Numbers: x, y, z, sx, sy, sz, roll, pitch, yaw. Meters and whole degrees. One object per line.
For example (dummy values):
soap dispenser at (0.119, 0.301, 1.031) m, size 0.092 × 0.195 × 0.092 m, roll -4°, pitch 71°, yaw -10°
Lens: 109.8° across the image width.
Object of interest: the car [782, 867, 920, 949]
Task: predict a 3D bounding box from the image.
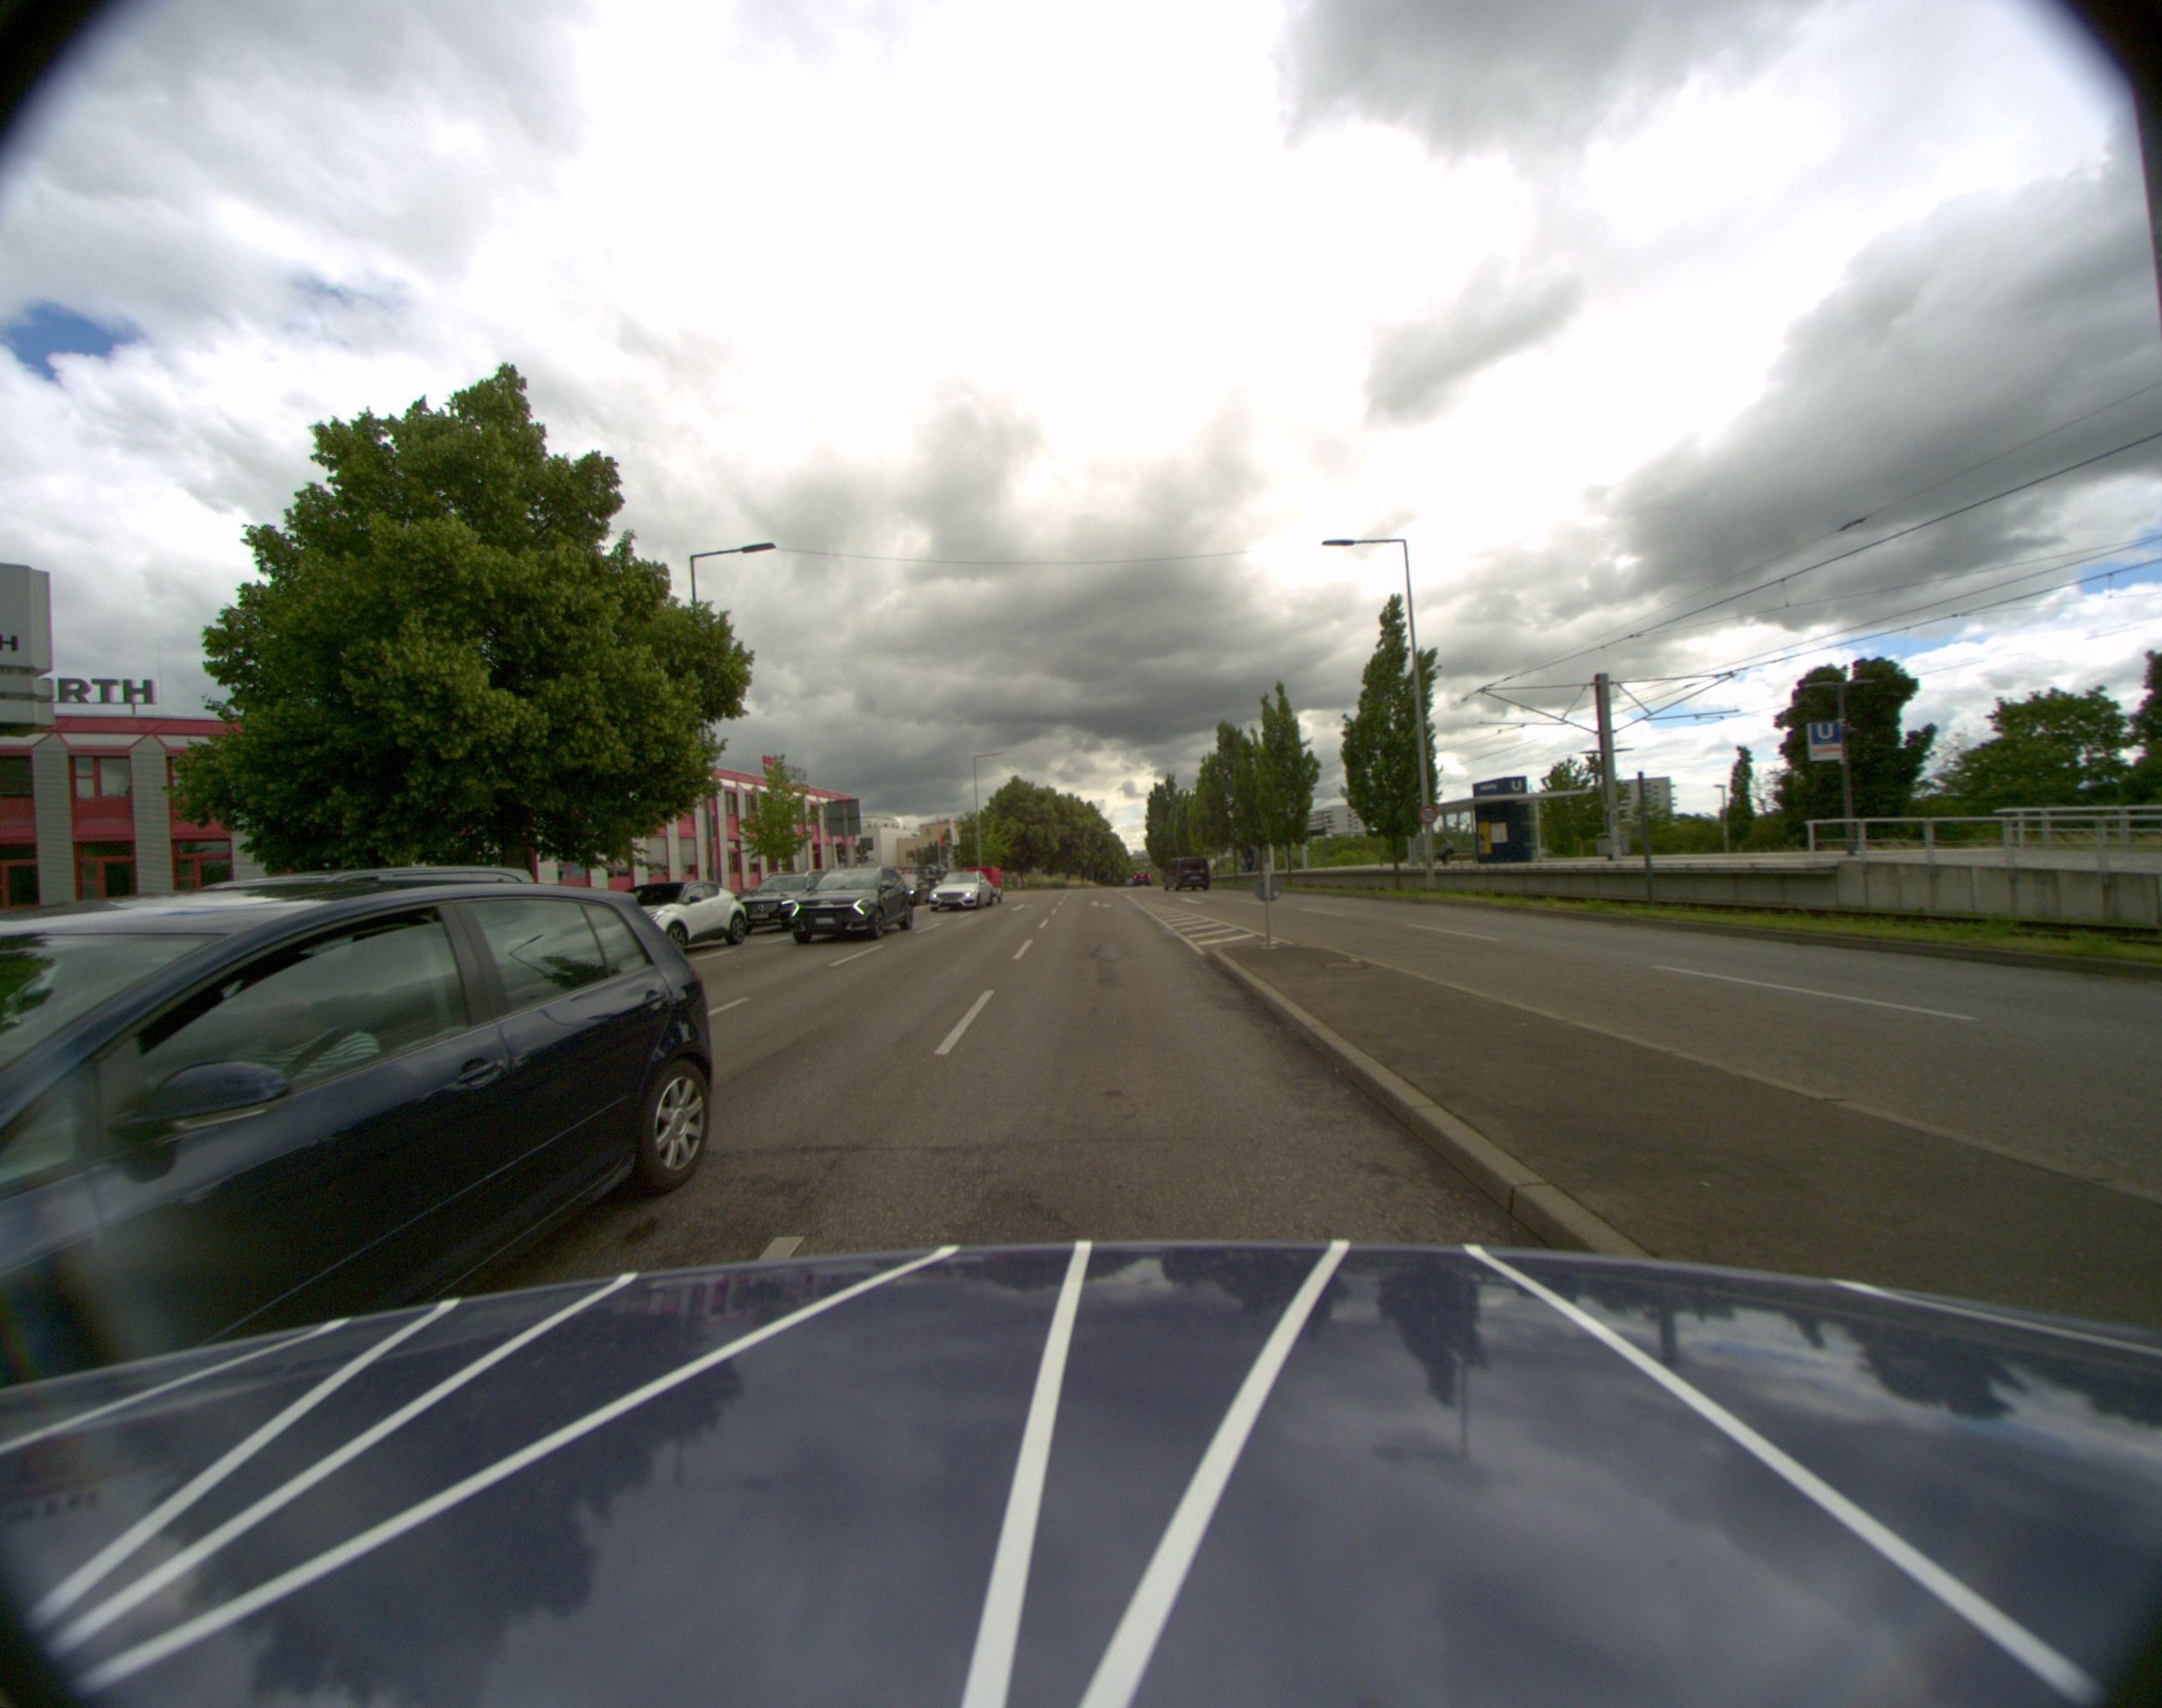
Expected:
car at (-5.246, 1.160, 17.939) m, size 1.798 × 1.521 × 4.218 m, roll -2°, pitch 1°, yaw 2°

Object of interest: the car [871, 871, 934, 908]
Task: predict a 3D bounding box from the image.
car at (-8.101, 1.569, 34.928) m, size 1.763 × 1.431 × 4.370 m, roll -3°, pitch 0°, yaw 0°

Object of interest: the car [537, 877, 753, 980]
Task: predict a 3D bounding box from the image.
car at (-8.589, 1.384, 15.479) m, size 1.844 × 1.507 × 4.106 m, roll -6°, pitch 0°, yaw 1°

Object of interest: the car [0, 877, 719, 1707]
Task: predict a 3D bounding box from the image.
car at (-2.842, 0.976, 2.108) m, size 1.669 × 1.589 × 3.996 m, roll -2°, pitch 1°, yaw 0°

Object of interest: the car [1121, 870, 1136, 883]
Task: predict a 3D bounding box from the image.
car at (6.501, 3.058, 104.451) m, size 1.760 × 1.519 × 3.600 m, roll -2°, pitch 1°, yaw 0°

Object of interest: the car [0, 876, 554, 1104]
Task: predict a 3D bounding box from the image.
car at (-8.768, 1.250, 8.829) m, size 1.763 × 1.764 × 4.676 m, roll -5°, pitch -1°, yaw 2°

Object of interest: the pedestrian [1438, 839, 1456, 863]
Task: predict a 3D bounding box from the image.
pedestrian at (17.711, -0.149, 36.754) m, size 0.601 × 1.148 × 0.447 m, roll -2°, pitch 1°, yaw 1°

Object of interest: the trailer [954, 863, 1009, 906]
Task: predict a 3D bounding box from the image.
trailer at (-4.383, 1.290, 33.991) m, size 1.775 × 1.650 × 3.996 m, roll -2°, pitch 1°, yaw 1°

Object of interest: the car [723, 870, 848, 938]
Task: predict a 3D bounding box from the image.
car at (-8.440, 1.374, 22.153) m, size 1.865 × 1.648 × 4.209 m, roll -4°, pitch -1°, yaw 1°

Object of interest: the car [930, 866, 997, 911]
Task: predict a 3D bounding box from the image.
car at (-4.521, 1.309, 29.821) m, size 1.775 × 1.442 × 4.401 m, roll -2°, pitch 1°, yaw 1°

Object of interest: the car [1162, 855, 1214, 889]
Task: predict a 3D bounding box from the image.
car at (6.099, 1.017, 43.975) m, size 1.893 × 1.802 × 5.091 m, roll -2°, pitch -1°, yaw -4°

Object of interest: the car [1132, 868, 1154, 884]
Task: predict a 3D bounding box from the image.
car at (6.260, 2.210, 77.034) m, size 1.740 × 1.499 × 3.659 m, roll -2°, pitch 0°, yaw -2°
